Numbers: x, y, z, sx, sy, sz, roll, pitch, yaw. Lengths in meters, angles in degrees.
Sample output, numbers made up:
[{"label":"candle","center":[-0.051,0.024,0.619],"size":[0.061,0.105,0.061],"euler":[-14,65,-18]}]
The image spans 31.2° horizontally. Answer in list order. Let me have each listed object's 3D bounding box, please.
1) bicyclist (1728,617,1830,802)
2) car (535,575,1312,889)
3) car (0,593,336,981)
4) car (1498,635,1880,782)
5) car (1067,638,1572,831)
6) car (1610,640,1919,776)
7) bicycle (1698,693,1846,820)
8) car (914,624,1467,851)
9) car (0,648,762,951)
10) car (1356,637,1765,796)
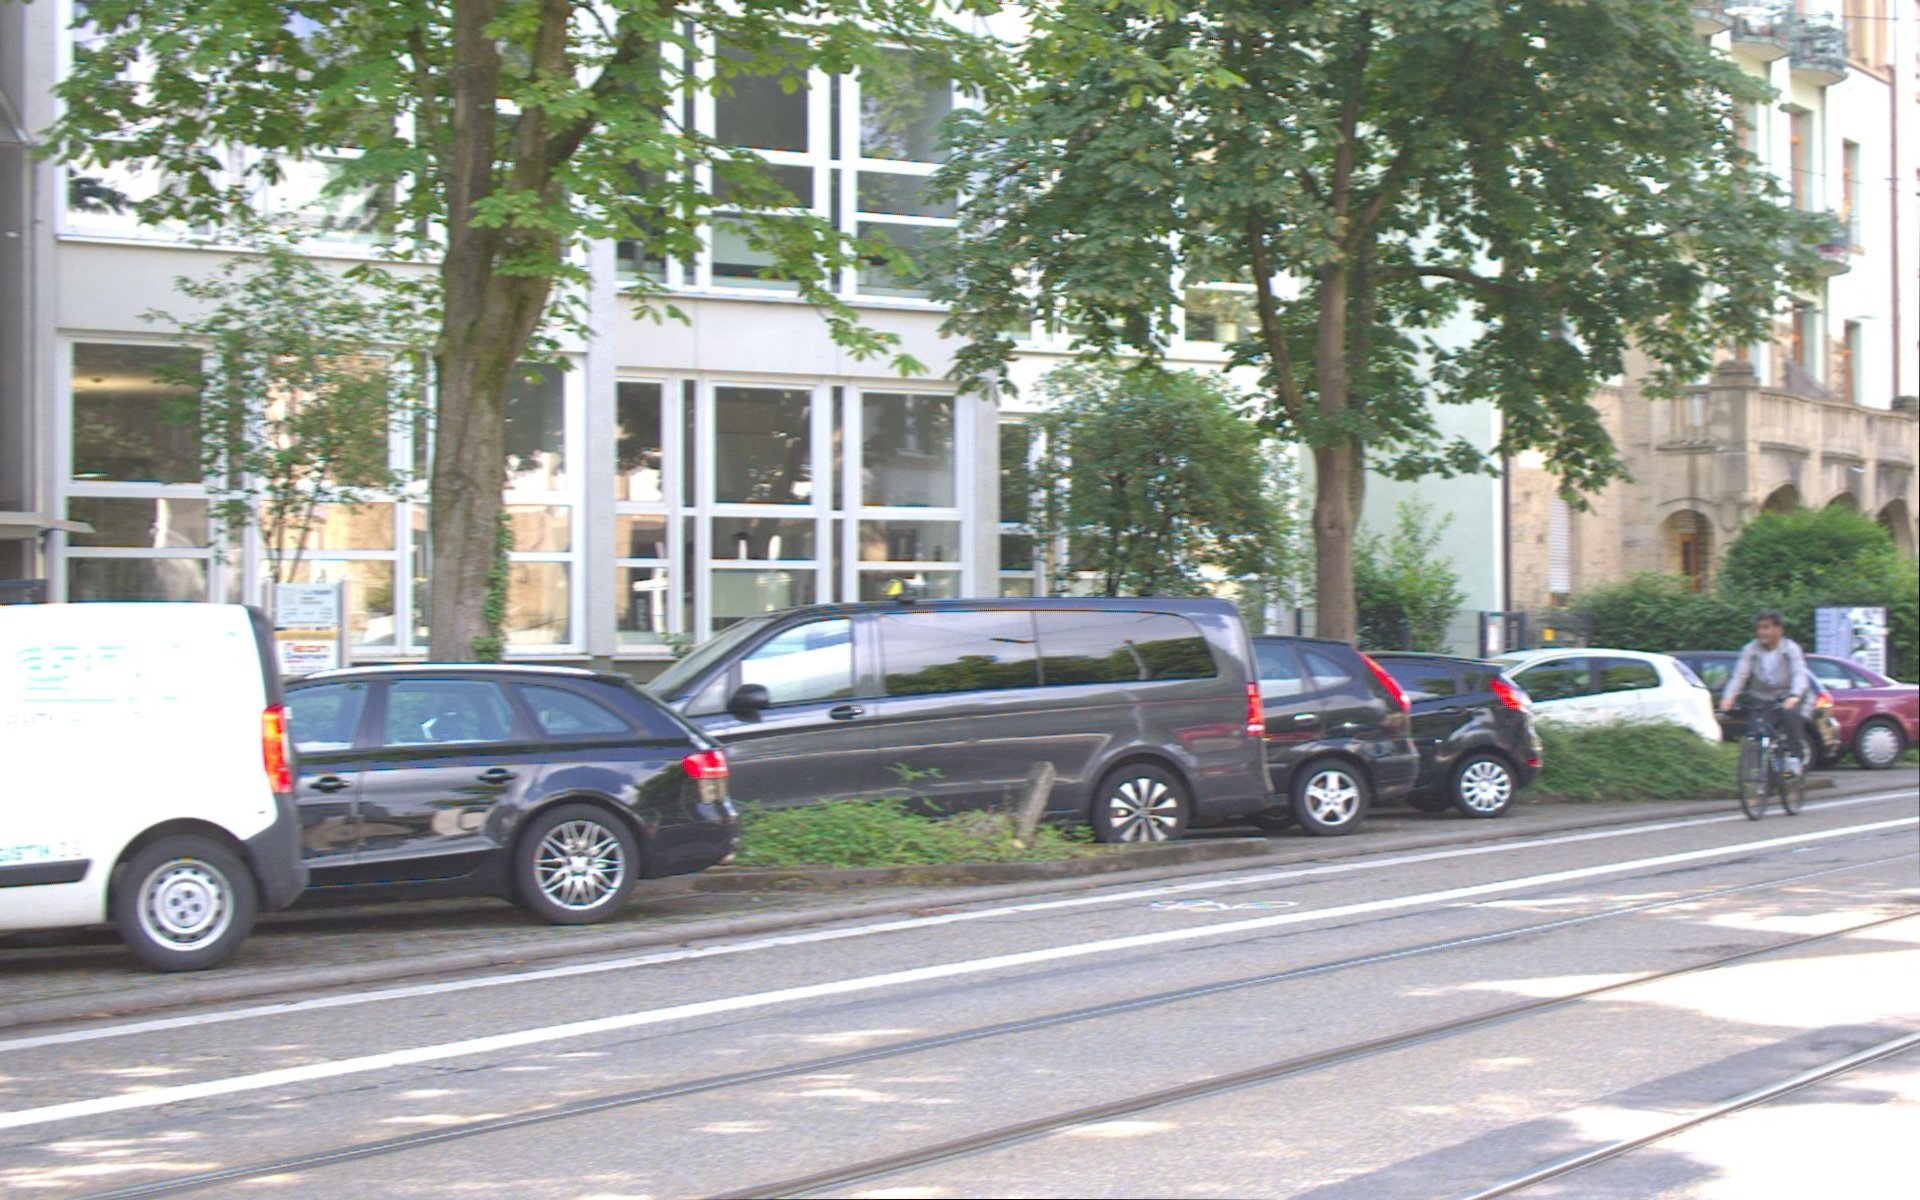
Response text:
[{"label":"bicyclist","center":[7.077,0.943,29.704],"size":[0.642,1.571,0.741],"euler":[-1,-2,30]},{"label":"car","center":[-0.297,0.911,24.472],"size":[5.150,1.948,1.917],"euler":[-2,-2,-14]},{"label":"car","center":[-4.862,0.899,16.145],"size":[3.702,1.687,1.761],"euler":[-2,-2,-12]},{"label":"car","center":[8.161,1.215,38.638],"size":[3.794,1.479,1.698],"euler":[-2,-2,-8]},{"label":"car","center":[3.097,1.161,29.950],"size":[3.986,1.479,1.741],"euler":[-2,-2,-11]},{"label":"car","center":[10.029,1.277,41.159],"size":[3.956,1.479,1.847],"euler":[-2,-2,-11]},{"label":"bicycle","center":[7.014,1.332,29.628],"size":[0.656,1.037,1.997],"euler":[-1,-2,31]},{"label":"car","center":[1.796,1.073,27.259],"size":[3.986,1.587,1.741],"euler":[-2,-2,-13]},{"label":"car","center":[-3.240,1.055,18.858],"size":[3.986,1.413,1.761],"euler":[-2,-2,-14]},{"label":"car","center":[6.251,1.208,35.932],"size":[3.794,1.479,1.698],"euler":[-2,-2,-14]}]
